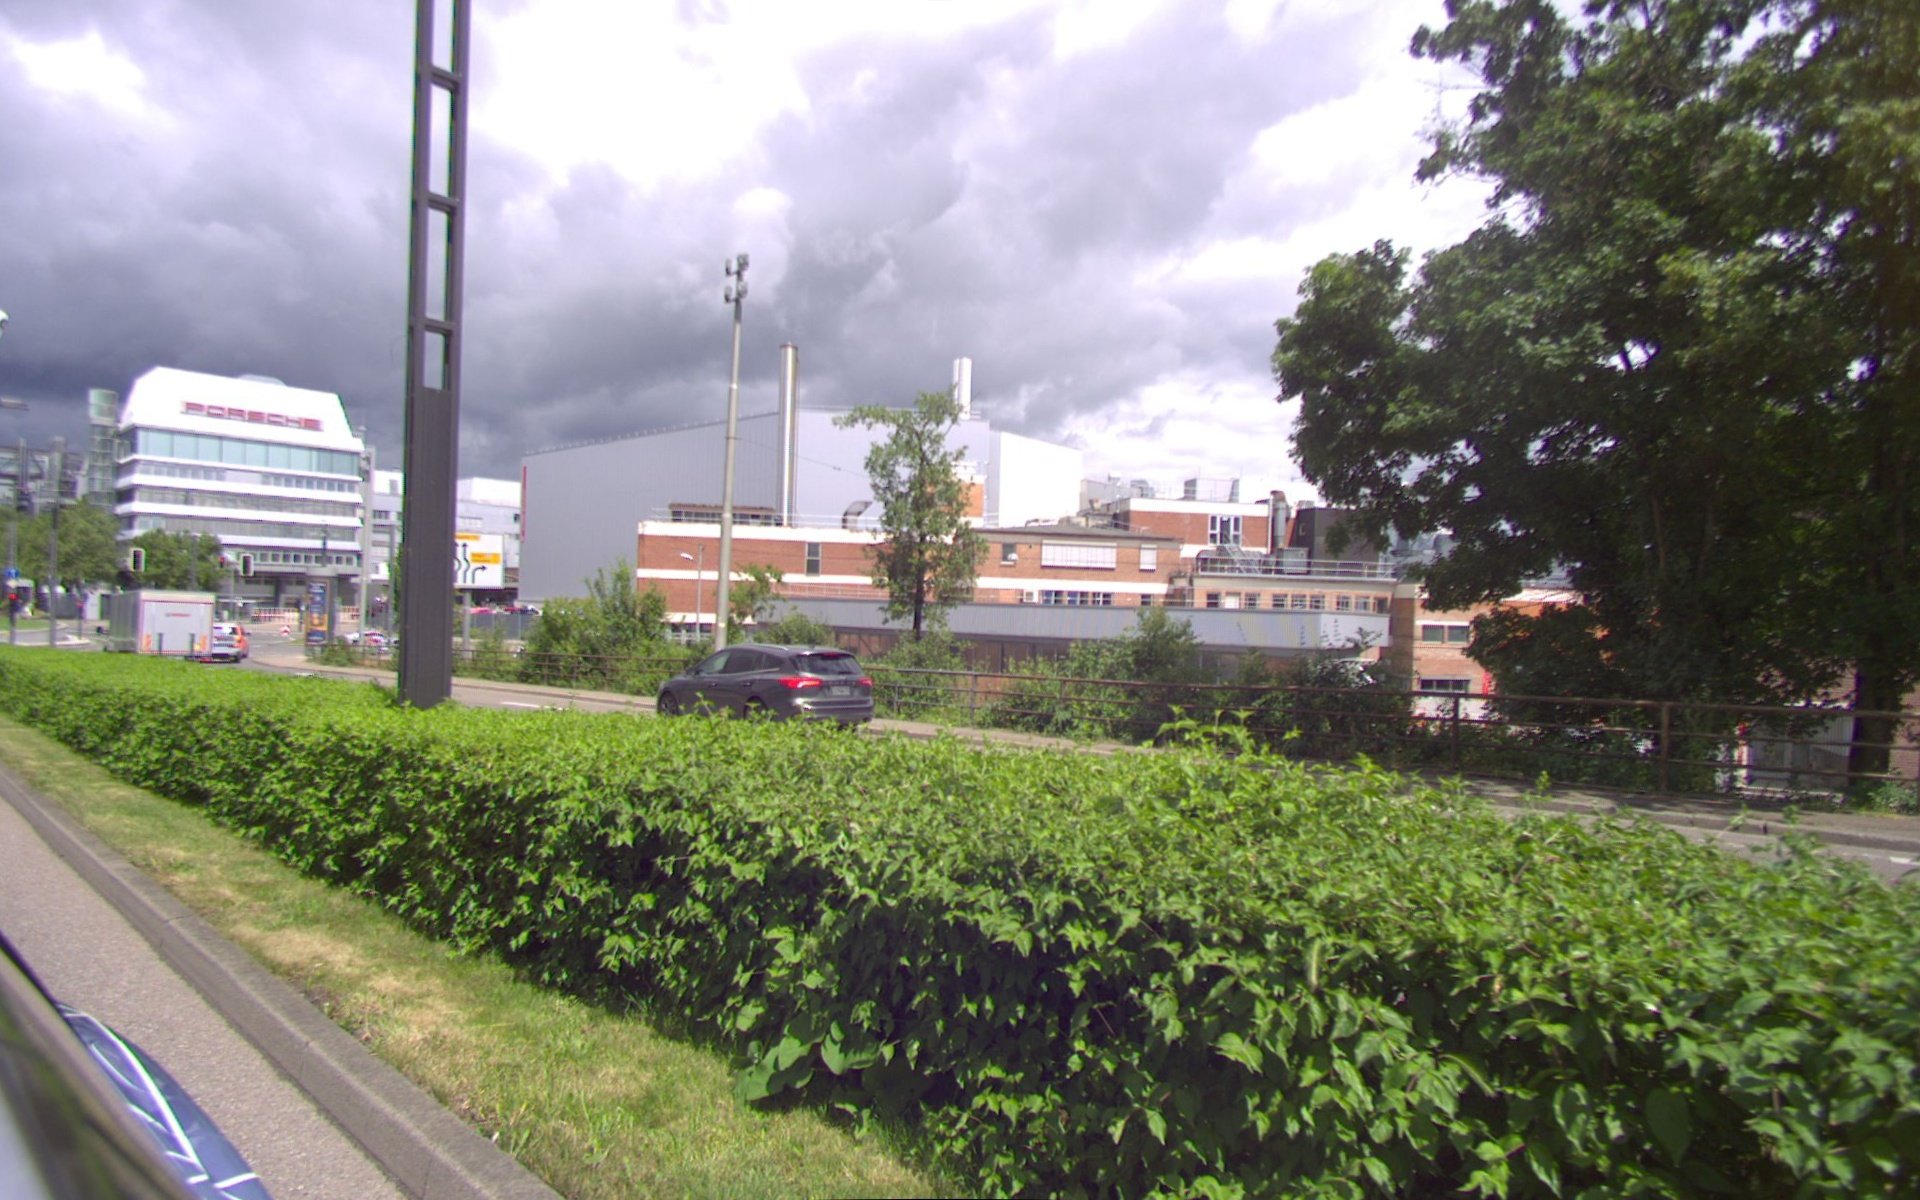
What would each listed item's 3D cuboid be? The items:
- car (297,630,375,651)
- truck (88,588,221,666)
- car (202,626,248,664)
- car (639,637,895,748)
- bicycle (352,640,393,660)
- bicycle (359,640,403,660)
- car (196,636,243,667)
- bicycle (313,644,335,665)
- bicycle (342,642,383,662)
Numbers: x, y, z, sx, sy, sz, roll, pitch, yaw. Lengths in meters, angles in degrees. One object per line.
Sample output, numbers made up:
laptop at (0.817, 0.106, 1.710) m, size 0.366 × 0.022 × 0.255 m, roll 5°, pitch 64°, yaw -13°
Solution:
car at (-46.437, 3.015, 75.340) m, size 4.707 × 1.497 × 2.054 m, roll 2°, pitch -2°, yaw -39°
truck at (-33.576, 1.254, 42.015) m, size 9.374 × 2.879 × 2.825 m, roll -4°, pitch -4°, yaw 42°
car at (-41.003, 2.459, 56.483) m, size 1.967 × 1.973 × 4.639 m, roll 1°, pitch -2°, yaw -36°
car at (-3.254, 1.384, 16.457) m, size 4.563 × 1.519 × 1.819 m, roll -2°, pitch -3°, yaw 45°
bicycle at (-31.104, 2.641, 53.601) m, size 0.616 × 0.996 × 1.939 m, roll -1°, pitch -2°, yaw 17°
bicycle at (-30.267, 2.608, 52.930) m, size 0.619 × 0.996 × 1.928 m, roll -2°, pitch -3°, yaw 32°
car at (-37.075, 2.544, 50.683) m, size 1.772 × 1.433 × 4.502 m, roll 3°, pitch -3°, yaw -36°
bicycle at (-29.736, 2.539, 47.281) m, size 0.513 × 0.996 × 1.952 m, roll 2°, pitch -3°, yaw -43°
bicycle at (-31.771, 2.764, 53.826) m, size 0.616 × 0.996 × 1.939 m, roll -1°, pitch -2°, yaw 17°
